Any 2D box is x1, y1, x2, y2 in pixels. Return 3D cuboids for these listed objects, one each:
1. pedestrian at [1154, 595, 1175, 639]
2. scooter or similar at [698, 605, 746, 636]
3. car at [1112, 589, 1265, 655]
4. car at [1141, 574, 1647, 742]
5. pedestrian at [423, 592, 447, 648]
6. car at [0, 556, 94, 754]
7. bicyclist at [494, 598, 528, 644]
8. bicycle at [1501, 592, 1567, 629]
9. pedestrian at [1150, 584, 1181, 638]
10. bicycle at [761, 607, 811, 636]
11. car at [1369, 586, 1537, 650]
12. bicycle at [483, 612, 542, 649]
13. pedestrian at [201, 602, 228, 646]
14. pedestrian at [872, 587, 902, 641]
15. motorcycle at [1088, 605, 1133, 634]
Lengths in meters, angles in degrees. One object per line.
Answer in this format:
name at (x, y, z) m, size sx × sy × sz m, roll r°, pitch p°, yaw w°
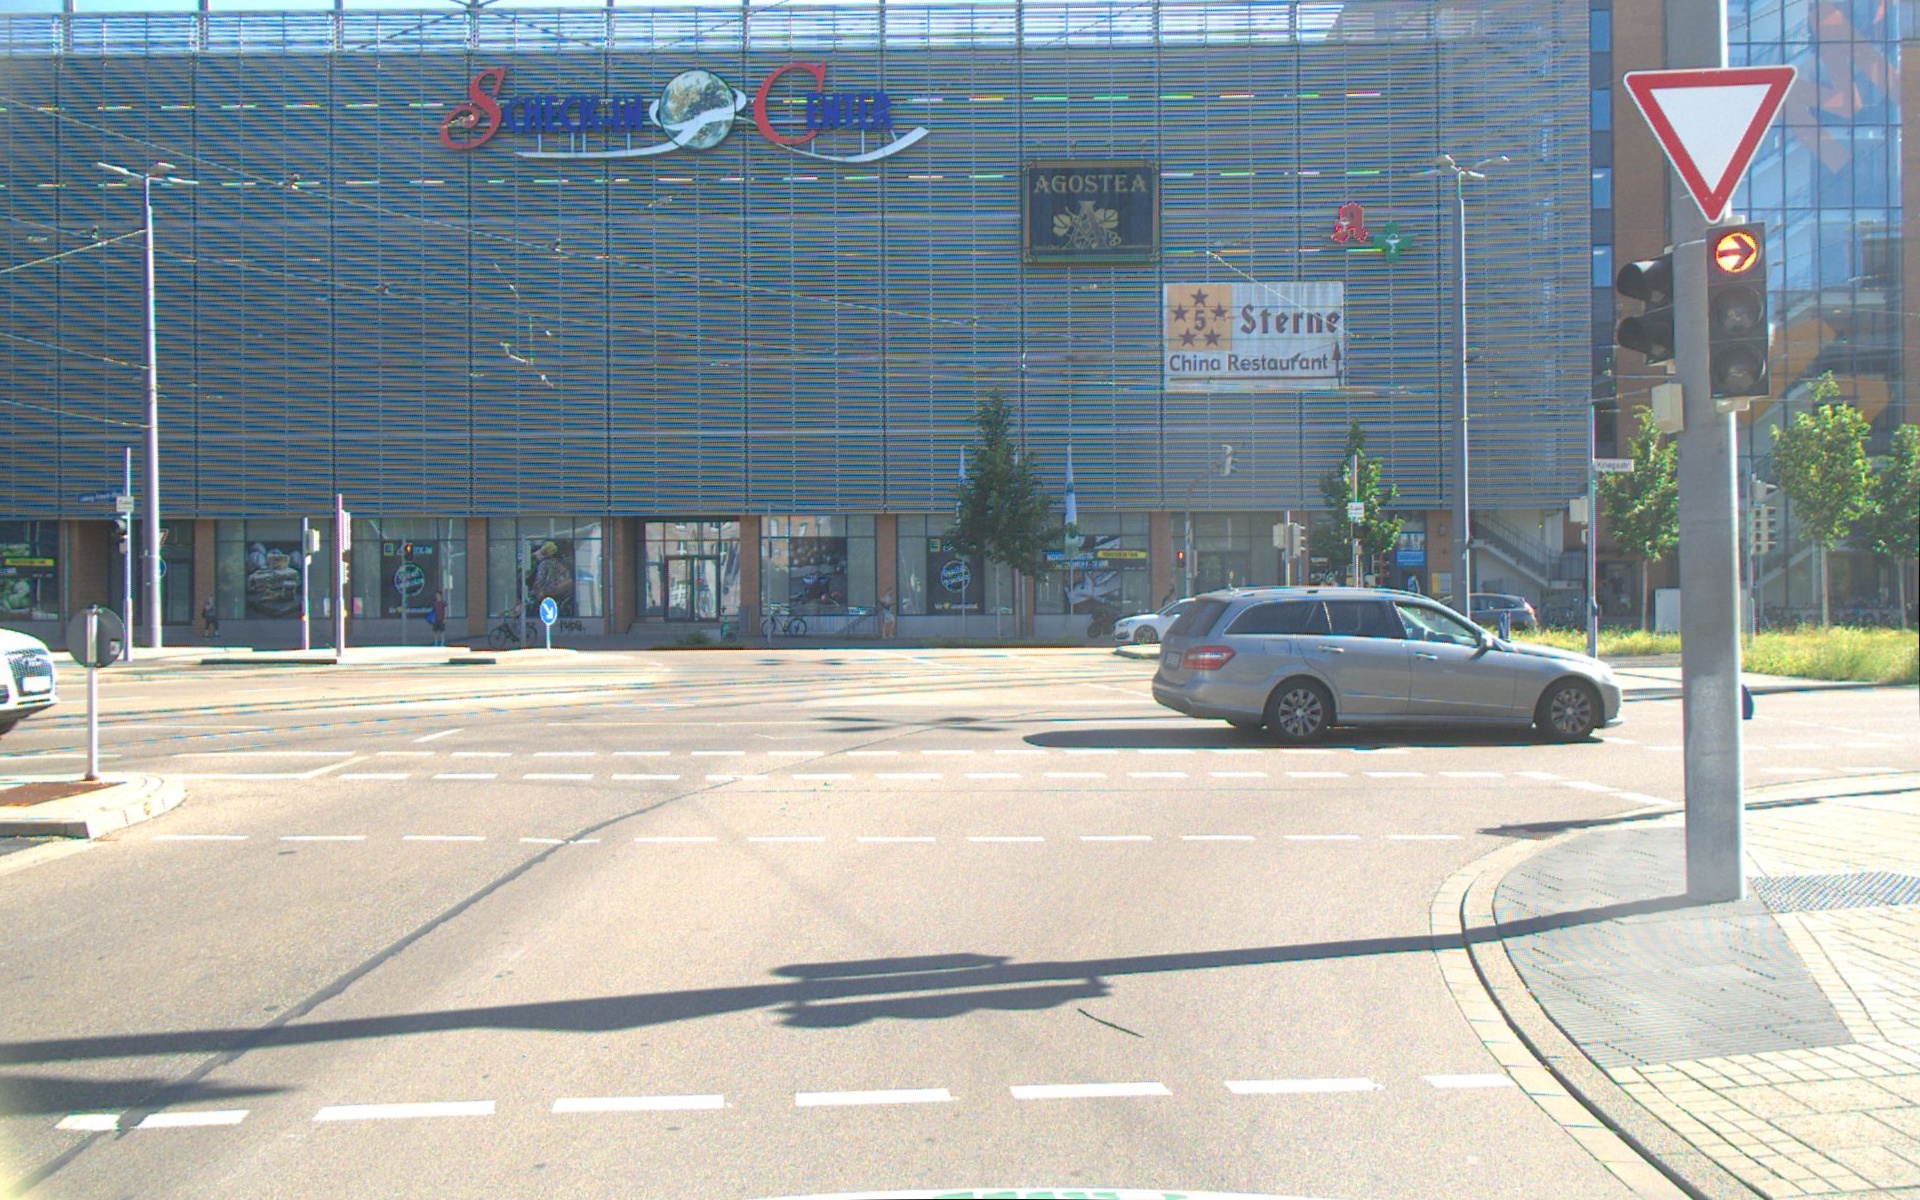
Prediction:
pedestrian at (6.857, 0.577, 55.357) m, size 0.641 × 1.438 × 0.850 m, roll 1°, pitch 0°, yaw 10°
scooter or similar at (-8.747, 0.744, 60.773) m, size 1.759 × 1.085 × 0.611 m, roll 0°, pitch 1°, yaw -9°
car at (6.748, 0.642, 49.100) m, size 4.203 × 1.673 × 1.840 m, roll 3°, pitch -1°, yaw -2°
car at (4.391, 0.548, 17.027) m, size 4.764 × 1.599 × 1.704 m, roll 0°, pitch 0°, yaw -8°
pedestrian at (-17.339, 0.658, 54.660) m, size 0.683 × 1.829 × 0.727 m, roll -2°, pitch 0°, yaw -17°
car at (-10.787, 0.508, 15.210) m, size 4.577 × 1.737 × 1.936 m, roll -1°, pitch 0°, yaw -4°
bicyclist at (-14.799, 0.686, 54.536) m, size 0.663 × 1.452 × 0.844 m, roll 0°, pitch 2°, yaw 42°
bicycle at (21.288, 0.392, 61.346) m, size 2.209 × 1.318 × 0.605 m, roll 1°, pitch -1°, yaw -2°
pedestrian at (7.370, 0.386, 59.353) m, size 0.991 × 1.860 × 1.036 m, roll -2°, pitch 0°, yaw 3°
bicycle at (-6.366, 0.776, 60.425) m, size 1.783 × 1.006 × 0.556 m, roll 0°, pitch 1°, yaw -11°
car at (13.670, 0.496, 46.040) m, size 4.063 × 1.495 × 1.840 m, roll 3°, pitch -1°, yaw -2°
bicycle at (-14.768, 1.002, 54.612) m, size 0.559 × 1.105 × 1.852 m, roll 0°, pitch 2°, yaw 42°
pedestrian at (-27.853, 0.878, 61.780) m, size 0.646 × 1.629 × 0.594 m, roll 1°, pitch -1°, yaw 18°
pedestrian at (-2.625, 0.505, 59.642) m, size 0.930 × 1.860 × 0.846 m, roll -2°, pitch -4°, yaw 5°
motorcycle at (5.529, 0.727, 60.701) m, size 1.605 × 1.022 × 0.447 m, roll 1°, pitch 0°, yaw 6°
